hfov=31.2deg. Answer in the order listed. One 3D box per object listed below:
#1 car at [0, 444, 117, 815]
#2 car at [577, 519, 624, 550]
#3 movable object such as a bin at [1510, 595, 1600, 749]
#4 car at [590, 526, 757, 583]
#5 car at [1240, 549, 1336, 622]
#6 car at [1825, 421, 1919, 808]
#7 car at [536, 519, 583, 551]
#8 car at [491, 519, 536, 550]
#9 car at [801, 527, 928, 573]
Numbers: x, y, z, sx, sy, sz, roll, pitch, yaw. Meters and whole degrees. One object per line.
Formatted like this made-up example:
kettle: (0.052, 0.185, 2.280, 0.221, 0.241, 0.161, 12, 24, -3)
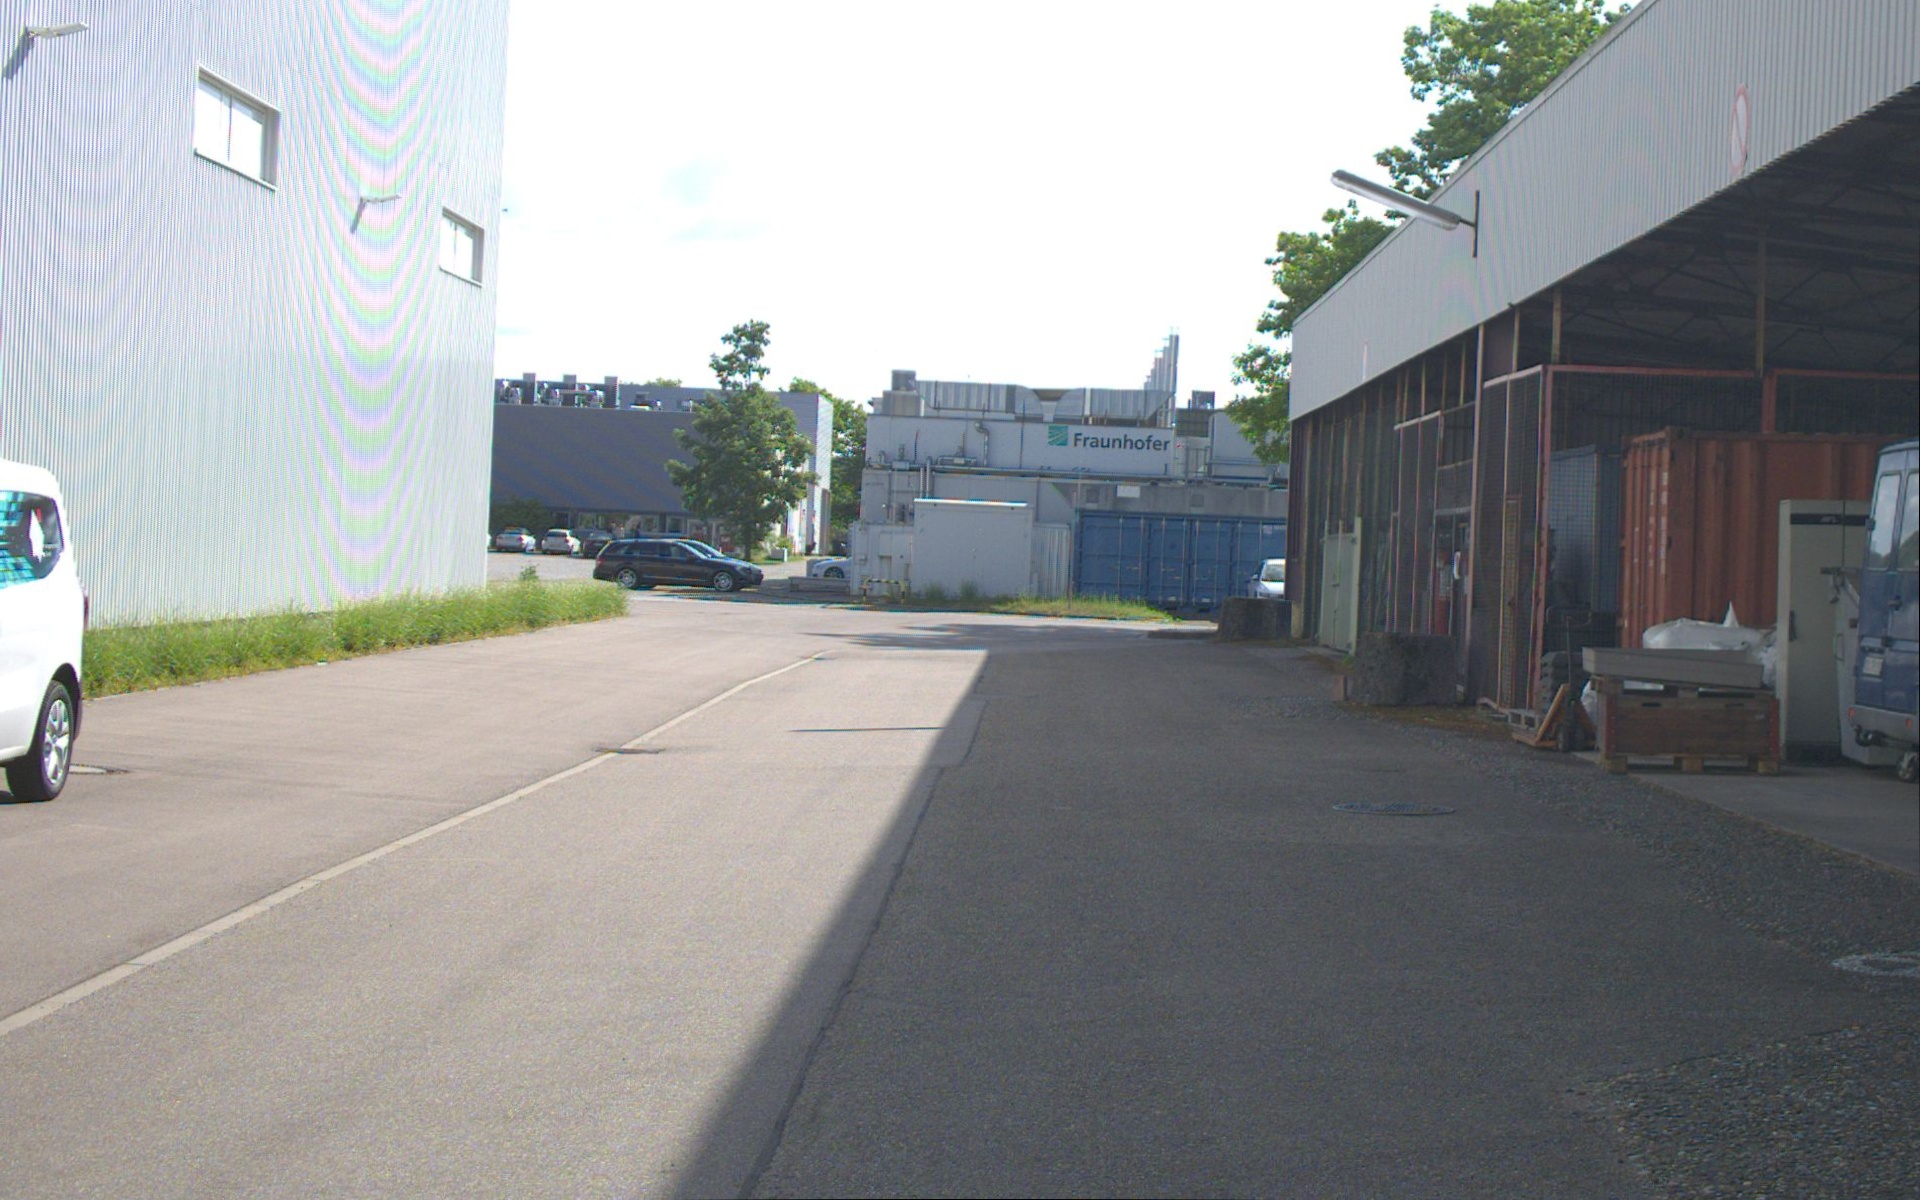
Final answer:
car: (-5.654, 0.087, 16.655, 1.890, 1.839, 4.358, 4, 1, 1)
car: (-20.351, -3.693, 194.669, 2.193, 1.730, 4.000, 1, 1, 1)
movable object such as a bin: (4.720, 0.557, 27.309, 0.582, 1.160, 1.238, 2, 1, 5)
car: (-8.218, -1.319, 98.921, 4.526, 1.503, 1.909, 2, 1, 3)
car: (8.148, -0.382, 85.744, 1.993, 1.580, 4.173, 2, 2, 1)
car: (8.188, 0.154, 21.530, 4.979, 2.317, 2.000, 2, 1, 2)
car: (-22.872, -3.712, 196.446, 2.193, 1.730, 4.000, 1, 1, 1)
car: (-25.465, -3.712, 196.170, 1.993, 1.730, 4.000, 1, 1, 1)
car: (-3.492, -1.850, 126.401, 4.526, 1.503, 1.909, 2, 1, 2)
